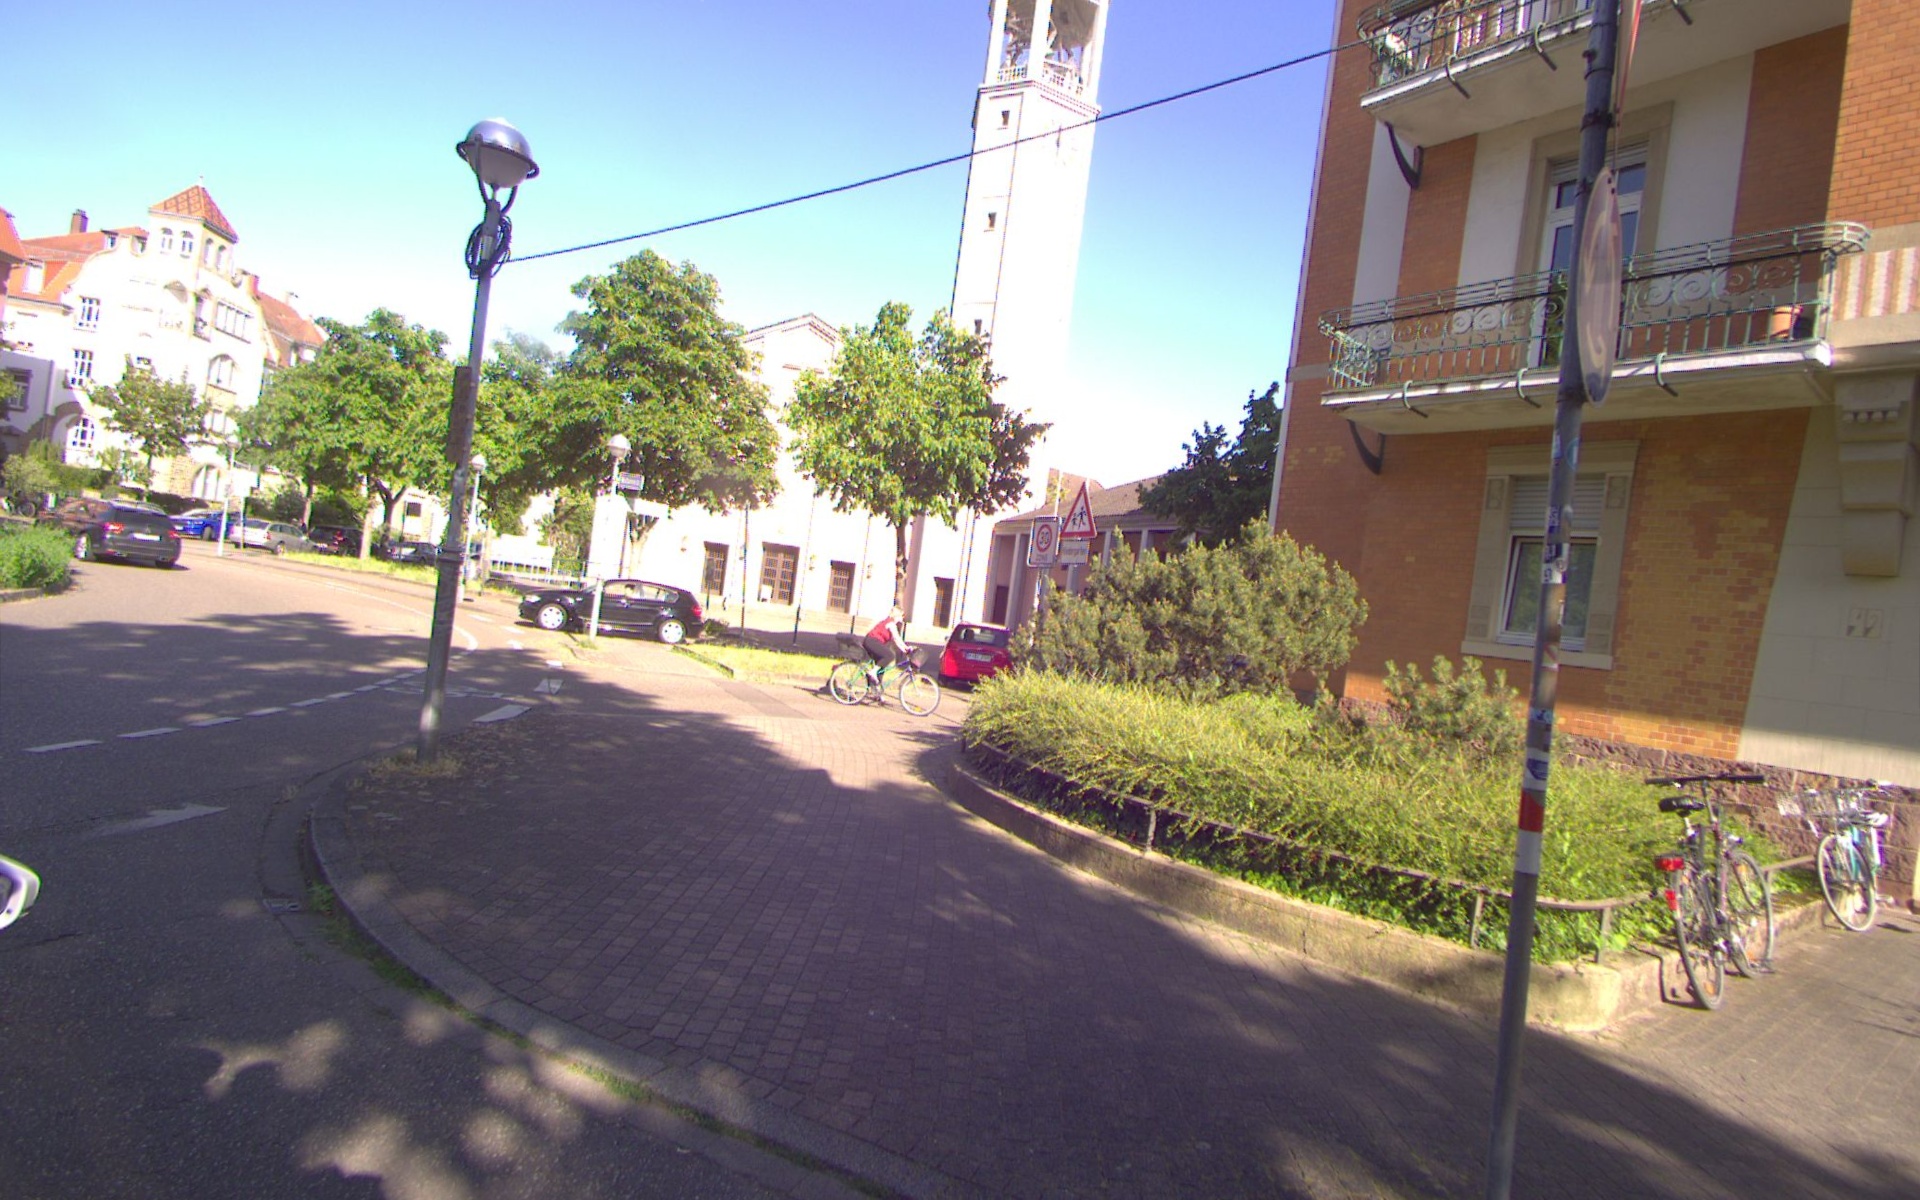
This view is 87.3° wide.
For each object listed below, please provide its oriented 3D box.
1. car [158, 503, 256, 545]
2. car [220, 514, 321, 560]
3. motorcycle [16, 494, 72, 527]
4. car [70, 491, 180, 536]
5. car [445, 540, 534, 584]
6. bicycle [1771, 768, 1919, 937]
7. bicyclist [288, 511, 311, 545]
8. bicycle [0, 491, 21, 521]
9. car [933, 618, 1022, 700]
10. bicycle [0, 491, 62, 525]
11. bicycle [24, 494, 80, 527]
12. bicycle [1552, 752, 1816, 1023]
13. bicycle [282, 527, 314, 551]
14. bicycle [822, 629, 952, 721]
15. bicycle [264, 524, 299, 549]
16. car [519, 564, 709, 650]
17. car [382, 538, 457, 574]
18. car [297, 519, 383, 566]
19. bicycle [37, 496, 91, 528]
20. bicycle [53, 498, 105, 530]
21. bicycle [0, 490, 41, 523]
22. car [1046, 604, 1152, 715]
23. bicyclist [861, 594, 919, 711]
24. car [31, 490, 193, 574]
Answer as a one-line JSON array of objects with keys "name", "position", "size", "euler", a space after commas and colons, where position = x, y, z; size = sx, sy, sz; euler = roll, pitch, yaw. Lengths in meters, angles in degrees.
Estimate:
[{"name": "car", "position": [-37.838, -3.763, 50.681], "size": [1.777, 1.581, 4.396], "euler": [5, -1, -5]}, {"name": "car", "position": [-29.784, -2.690, 43.616], "size": [1.780, 1.432, 4.332], "euler": [9, -1, -9]}, {"name": "motorcycle", "position": [-40.621, -3.982, 44.610], "size": [1.700, 1.120, 0.500], "euler": [10, 0, -12]}, {"name": "car", "position": [-37.646, -3.864, 45.498], "size": [1.779, 1.502, 4.331], "euler": [5, -1, -10]}, {"name": "car", "position": [-30.304, -2.444, 64.925], "size": [4.700, 2.024, 1.807], "euler": [9, -1, -9]}, {"name": "bicycle", "position": [6.822, 1.876, 7.687], "size": [1.660, 1.085, 0.495], "euler": [7, 0, -37]}, {"name": "bicyclist", "position": [-36.761, -4.002, 56.012], "size": [0.634, 1.735, 0.723], "euler": [7, 0, -4]}, {"name": "bicycle", "position": [-40.464, -4.047, 42.048], "size": [1.697, 1.128, 0.545], "euler": [10, 0, -5]}, {"name": "car", "position": [0.463, 1.235, 22.201], "size": [1.638, 1.452, 3.698], "euler": [8, -1, 4]}, {"name": "bicycle", "position": [-40.525, -3.996, 43.900], "size": [1.806, 1.120, 0.498], "euler": [10, 0, -21]}, {"name": "bicycle", "position": [-40.756, -3.997, 45.165], "size": [1.700, 1.120, 0.500], "euler": [10, 0, -12]}, {"name": "bicycle", "position": [4.035, 1.464, 5.535], "size": [1.930, 1.134, 0.680], "euler": [8, 0, -42]}, {"name": "bicycle", "position": [-36.831, -3.385, 56.025], "size": [0.634, 1.121, 1.716], "euler": [7, -1, -4]}, {"name": "bicycle", "position": [-1.106, 1.146, 15.563], "size": [1.839, 1.121, 0.698], "euler": [8, 0, -1]}, {"name": "bicycle", "position": [-35.847, -3.359, 53.188], "size": [0.585, 1.121, 1.862], "euler": [7, -1, -4]}, {"name": "car", "position": [-8.182, 0.166, 23.801], "size": [3.952, 1.436, 1.859], "euler": [8, -1, -25]}, {"name": "car", "position": [-30.341, -2.458, 56.592], "size": [1.777, 1.491, 4.339], "euler": [9, -1, -1]}, {"name": "car", "position": [-29.875, -2.717, 48.631], "size": [1.780, 1.748, 4.332], "euler": [9, -1, -9]}, {"name": "bicycle", "position": [-40.761, -3.986, 45.771], "size": [1.698, 1.120, 0.500], "euler": [10, 0, -8]}, {"name": "bicycle", "position": [-40.919, -3.992, 46.746], "size": [1.698, 1.120, 0.515], "euler": [10, 0, -8]}, {"name": "bicycle", "position": [-40.507, -4.014, 43.006], "size": [1.697, 1.128, 0.545], "euler": [10, 0, -5]}, {"name": "car", "position": [3.155, 1.322, 23.450], "size": [1.956, 2.070, 4.709], "euler": [8, -1, 6]}, {"name": "bicyclist", "position": [-1.069, 0.801, 15.563], "size": [0.638, 1.681, 0.698], "euler": [8, 0, 0]}, {"name": "car", "position": [-21.041, -1.691, 24.942], "size": [3.933, 1.551, 1.825], "euler": [7, -1, 32]}]
